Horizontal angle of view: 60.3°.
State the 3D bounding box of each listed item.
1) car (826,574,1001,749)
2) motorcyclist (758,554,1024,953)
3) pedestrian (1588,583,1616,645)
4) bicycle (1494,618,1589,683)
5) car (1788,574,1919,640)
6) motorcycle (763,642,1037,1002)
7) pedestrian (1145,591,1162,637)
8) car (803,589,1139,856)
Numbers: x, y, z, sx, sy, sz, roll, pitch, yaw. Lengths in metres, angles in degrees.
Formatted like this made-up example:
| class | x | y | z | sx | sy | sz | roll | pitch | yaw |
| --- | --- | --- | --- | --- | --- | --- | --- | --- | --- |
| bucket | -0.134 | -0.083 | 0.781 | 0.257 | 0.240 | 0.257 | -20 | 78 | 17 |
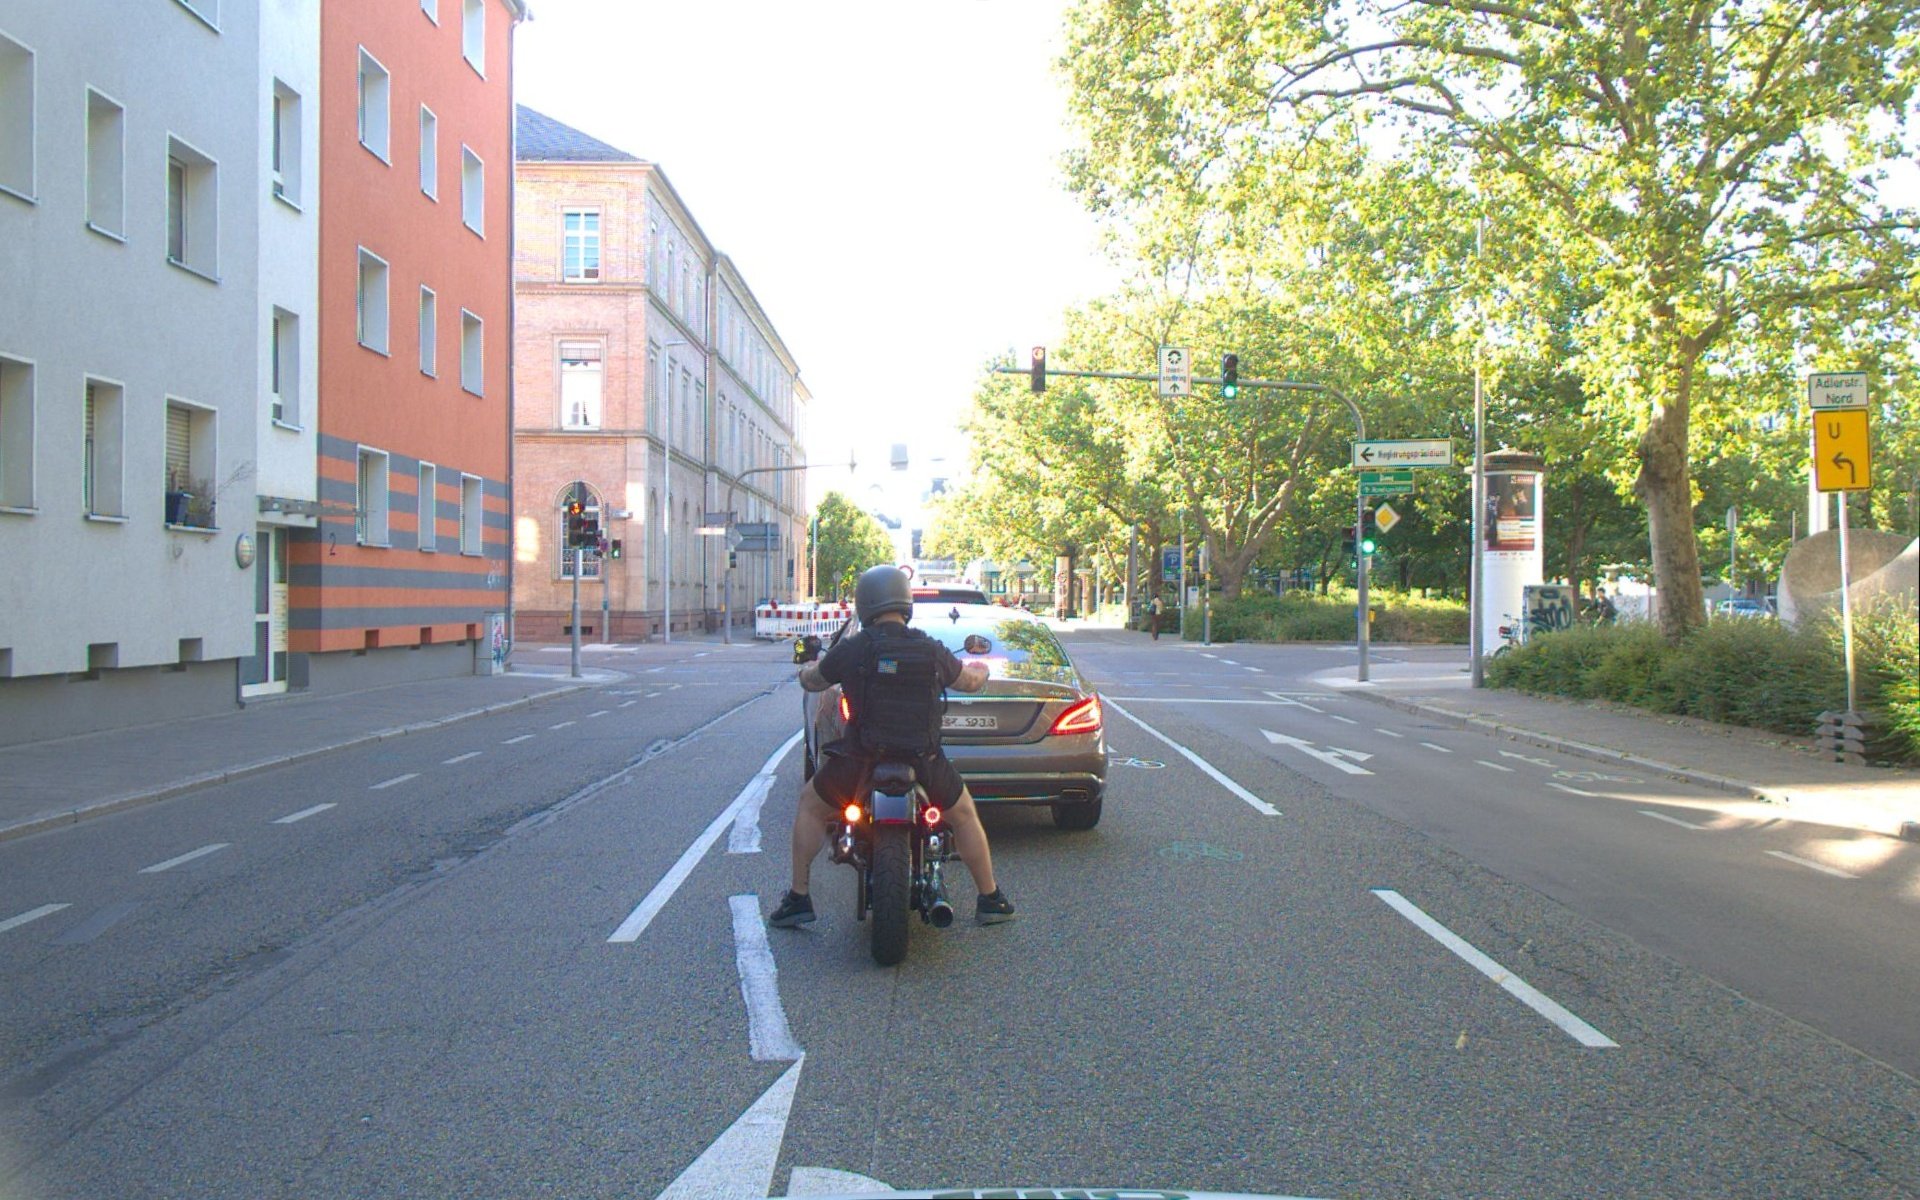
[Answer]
| class | x | y | z | sx | sy | sz | roll | pitch | yaw |
| --- | --- | --- | --- | --- | --- | --- | --- | --- | --- |
| car | -0.504 | 0.581 | 17.543 | 1.647 | 1.653 | 3.839 | 0 | 0 | -2 |
| motorcyclist | -0.292 | 0.631 | 7.411 | 1.090 | 1.641 | 1.202 | 0 | 0 | -1 |
| pedestrian | 18.808 | 0.410 | 48.462 | 0.607 | 1.815 | 0.630 | 0 | 0 | 1 |
| bicycle | 9.691 | 0.836 | 27.585 | 1.387 | 1.055 | 0.538 | 0 | 0 | -5 |
| car | 25.754 | 0.194 | 46.538 | 3.912 | 1.815 | 2.001 | 0 | 0 | 4 |
| motorcycle | -0.236 | 0.840 | 7.343 | 0.987 | 1.225 | 2.664 | 0 | 0 | -1 |
| pedestrian | 7.201 | 0.508 | 61.459 | 0.548 | 1.707 | 0.564 | 0 | 0 | -1 |
| car | -0.127 | 0.691 | 11.620 | 1.787 | 1.502 | 4.346 | 0 | 0 | -7 |
